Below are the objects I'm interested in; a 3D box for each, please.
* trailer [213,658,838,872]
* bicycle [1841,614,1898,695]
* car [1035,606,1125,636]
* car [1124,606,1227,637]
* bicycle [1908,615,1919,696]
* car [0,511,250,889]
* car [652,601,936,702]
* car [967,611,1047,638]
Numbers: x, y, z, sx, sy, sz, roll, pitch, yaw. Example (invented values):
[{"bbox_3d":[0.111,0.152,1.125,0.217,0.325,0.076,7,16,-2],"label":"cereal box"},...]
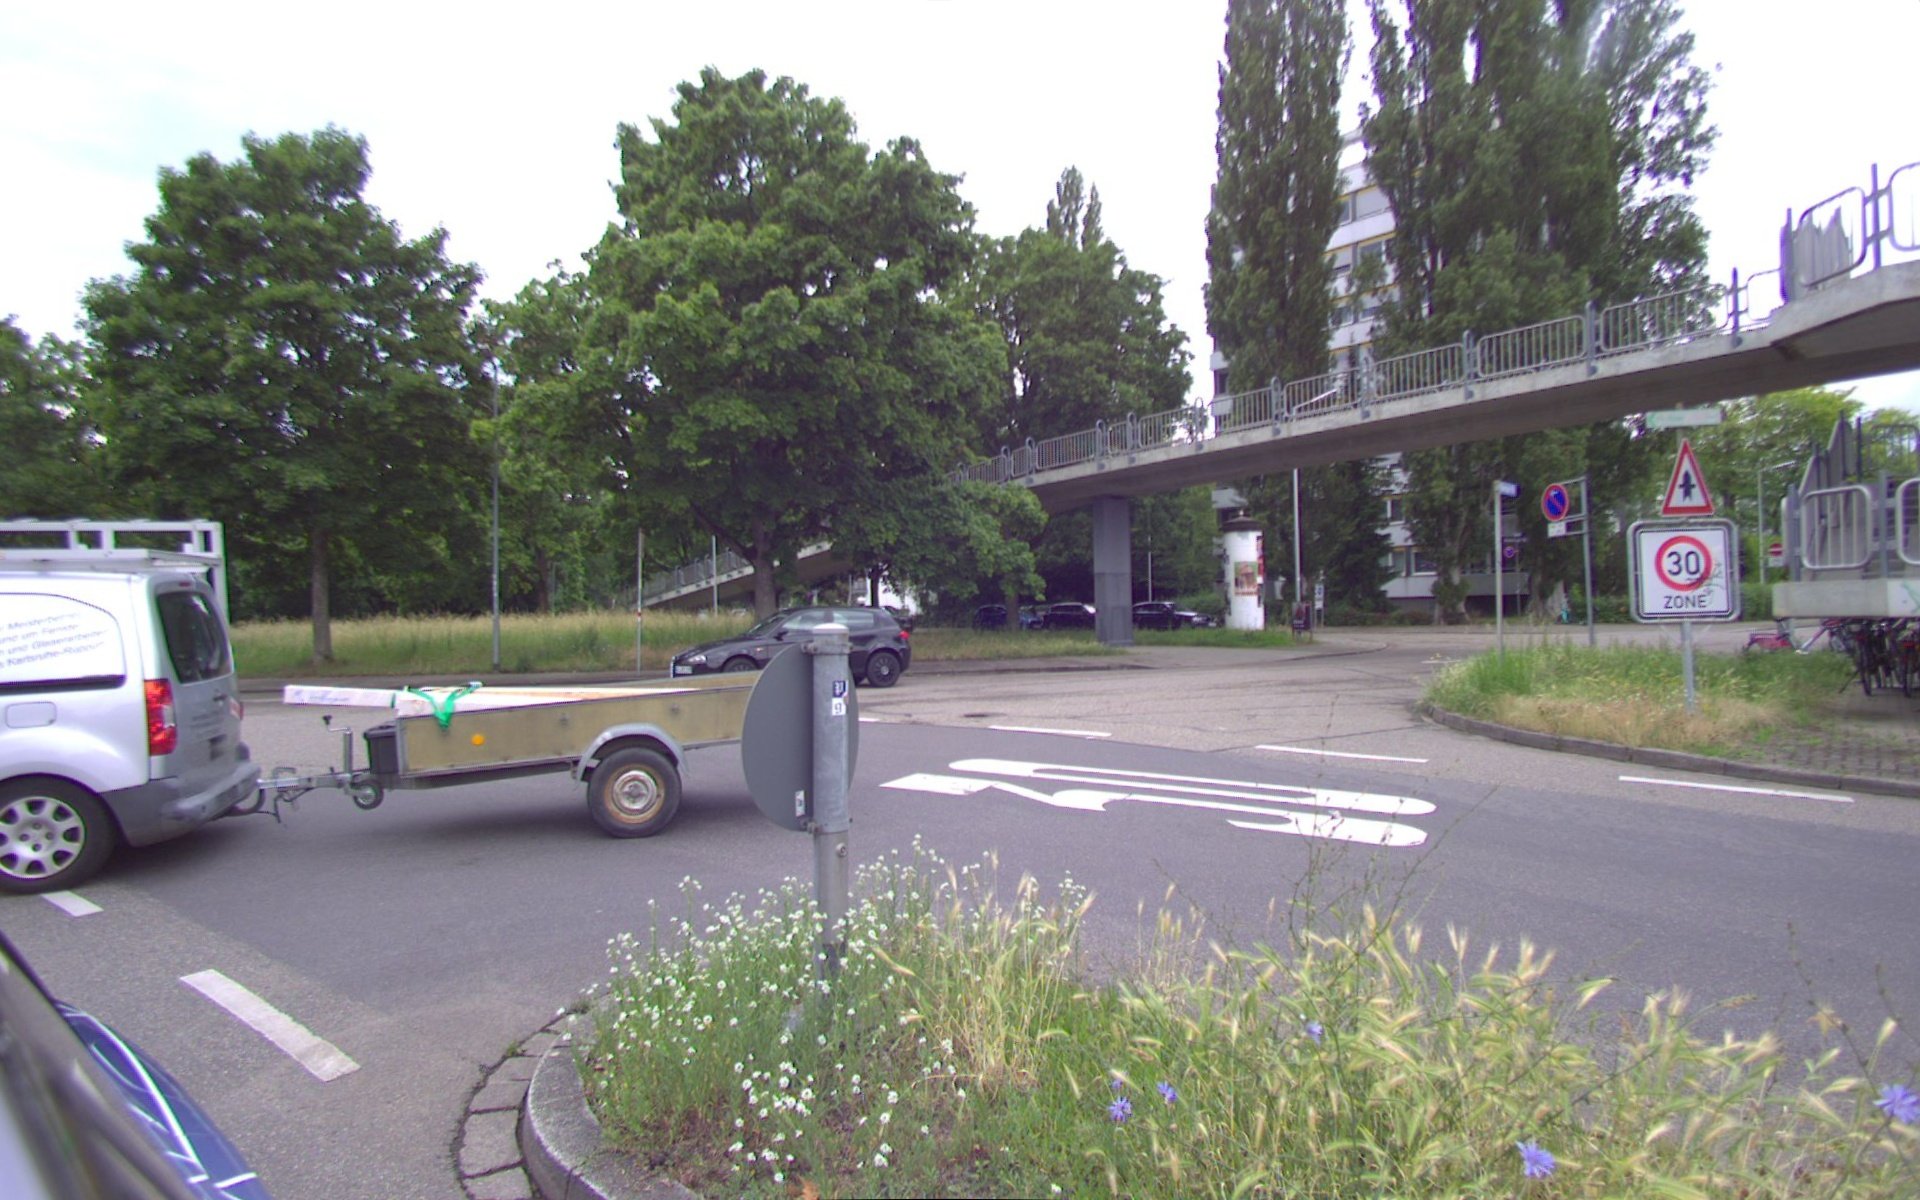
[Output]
[{"bbox_3d":[-2.624,0.966,6.704,3.406,0.993,1.576,0,0,-15],"label":"trailer"},{"bbox_3d":[11.150,0.642,12.392,1.618,0.892,0.395,-1,-1,-44],"label":"bicycle"},{"bbox_3d":[5.424,0.950,46.175,1.667,1.256,4.007,-1,0,-39],"label":"car"},{"bbox_3d":[8.874,0.890,41.943,1.667,1.214,4.007,-1,0,-39],"label":"car"},{"bbox_3d":[11.569,0.636,11.991,1.618,0.892,0.395,-1,-1,-44],"label":"bicycle"},{"bbox_3d":[-6.472,0.521,5.349,4.148,1.871,2.102,-1,-1,-25],"label":"car"},{"bbox_3d":[-2.826,0.804,17.372,4.462,1.468,1.809,-1,0,-27],"label":"car"},{"bbox_3d":[2.274,1.183,49.888,1.667,1.247,4.007,-1,0,-39],"label":"car"}]
